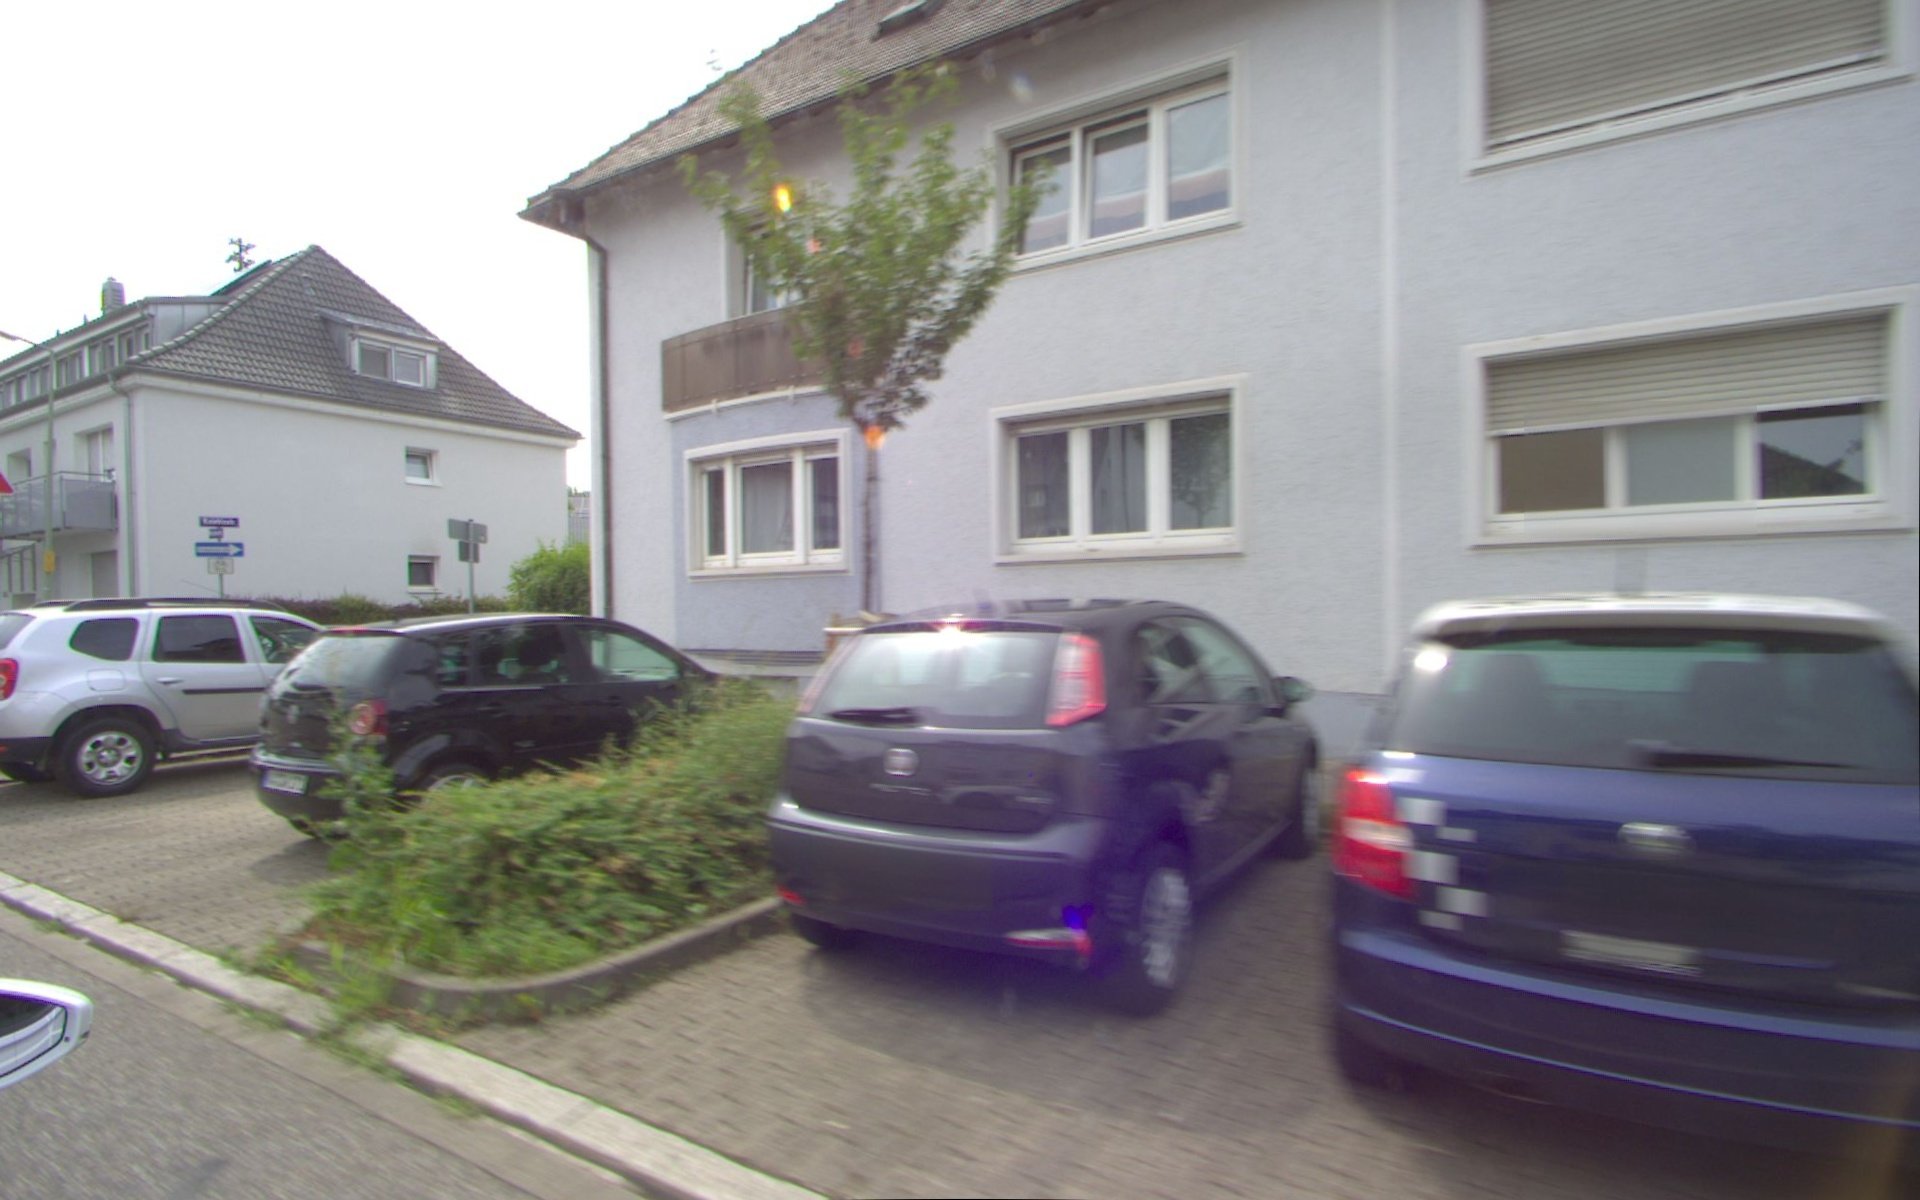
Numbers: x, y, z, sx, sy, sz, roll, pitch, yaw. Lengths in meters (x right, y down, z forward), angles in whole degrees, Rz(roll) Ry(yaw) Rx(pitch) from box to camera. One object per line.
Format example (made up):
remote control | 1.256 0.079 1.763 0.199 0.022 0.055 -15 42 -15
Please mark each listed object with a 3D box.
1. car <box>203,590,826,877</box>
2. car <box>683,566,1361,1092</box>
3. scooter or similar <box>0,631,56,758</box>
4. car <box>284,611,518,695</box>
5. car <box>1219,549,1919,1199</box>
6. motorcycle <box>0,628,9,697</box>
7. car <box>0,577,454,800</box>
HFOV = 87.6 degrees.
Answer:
car | -2.964 0.718 7.531 1.688 1.441 3.976 -1 2 33
car | 0.733 0.633 5.077 1.688 1.528 3.976 -1 2 33
scooter or similar | -9.973 0.975 10.042 0.415 1.260 1.239 -1 2 20
car | -11.113 0.990 20.148 1.640 1.462 3.793 -1 0 33
car | 2.491 0.603 3.939 1.688 1.528 3.976 -1 2 33
motorcycle | -17.939 1.112 17.169 0.926 1.226 2.189 -1 0 31
car | -7.346 0.657 9.771 1.839 1.655 3.919 -1 2 28
